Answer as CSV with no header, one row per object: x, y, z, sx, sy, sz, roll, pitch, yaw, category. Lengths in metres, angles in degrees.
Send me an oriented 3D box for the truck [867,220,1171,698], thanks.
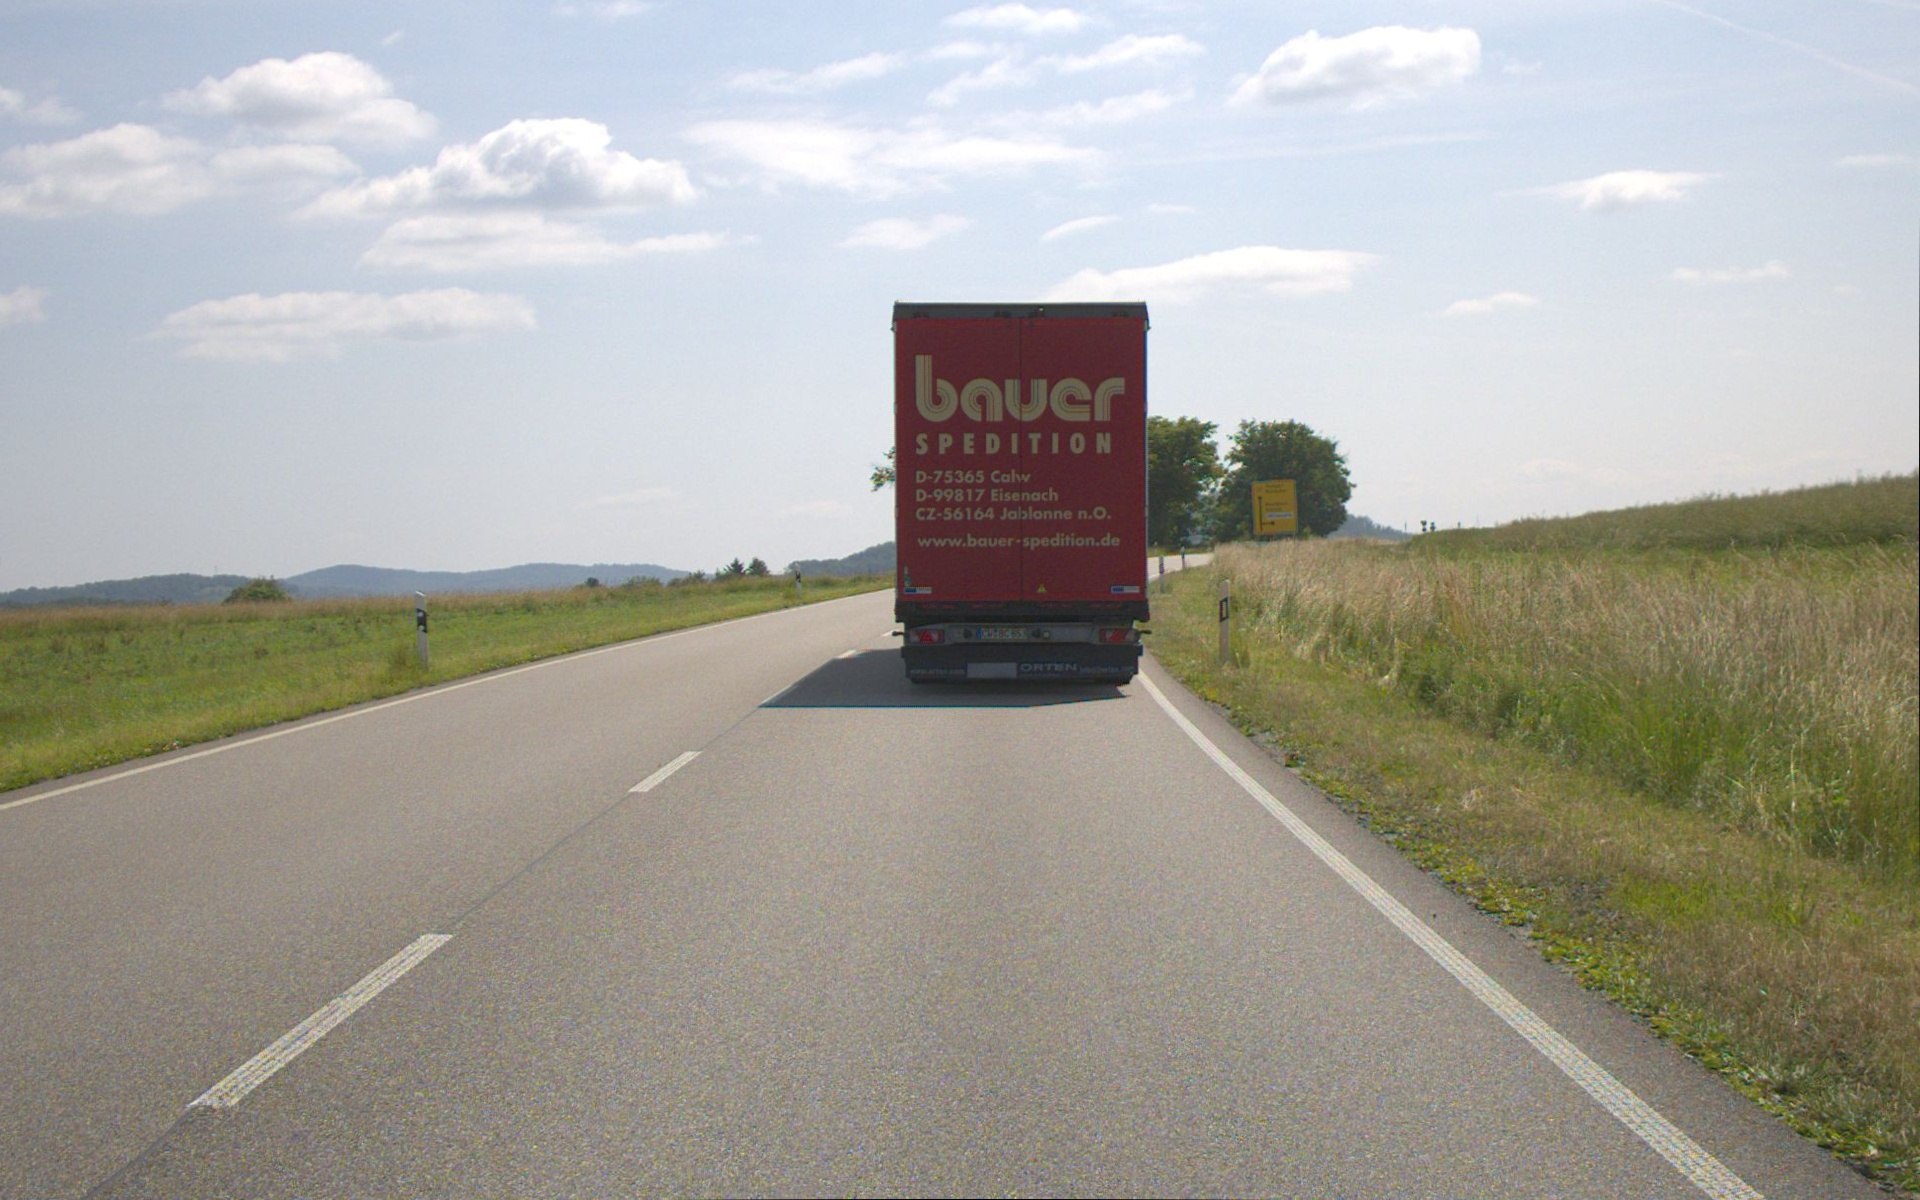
0.682,-1.510,38.684,2.975,4.697,9.366,0,1,1,truck
